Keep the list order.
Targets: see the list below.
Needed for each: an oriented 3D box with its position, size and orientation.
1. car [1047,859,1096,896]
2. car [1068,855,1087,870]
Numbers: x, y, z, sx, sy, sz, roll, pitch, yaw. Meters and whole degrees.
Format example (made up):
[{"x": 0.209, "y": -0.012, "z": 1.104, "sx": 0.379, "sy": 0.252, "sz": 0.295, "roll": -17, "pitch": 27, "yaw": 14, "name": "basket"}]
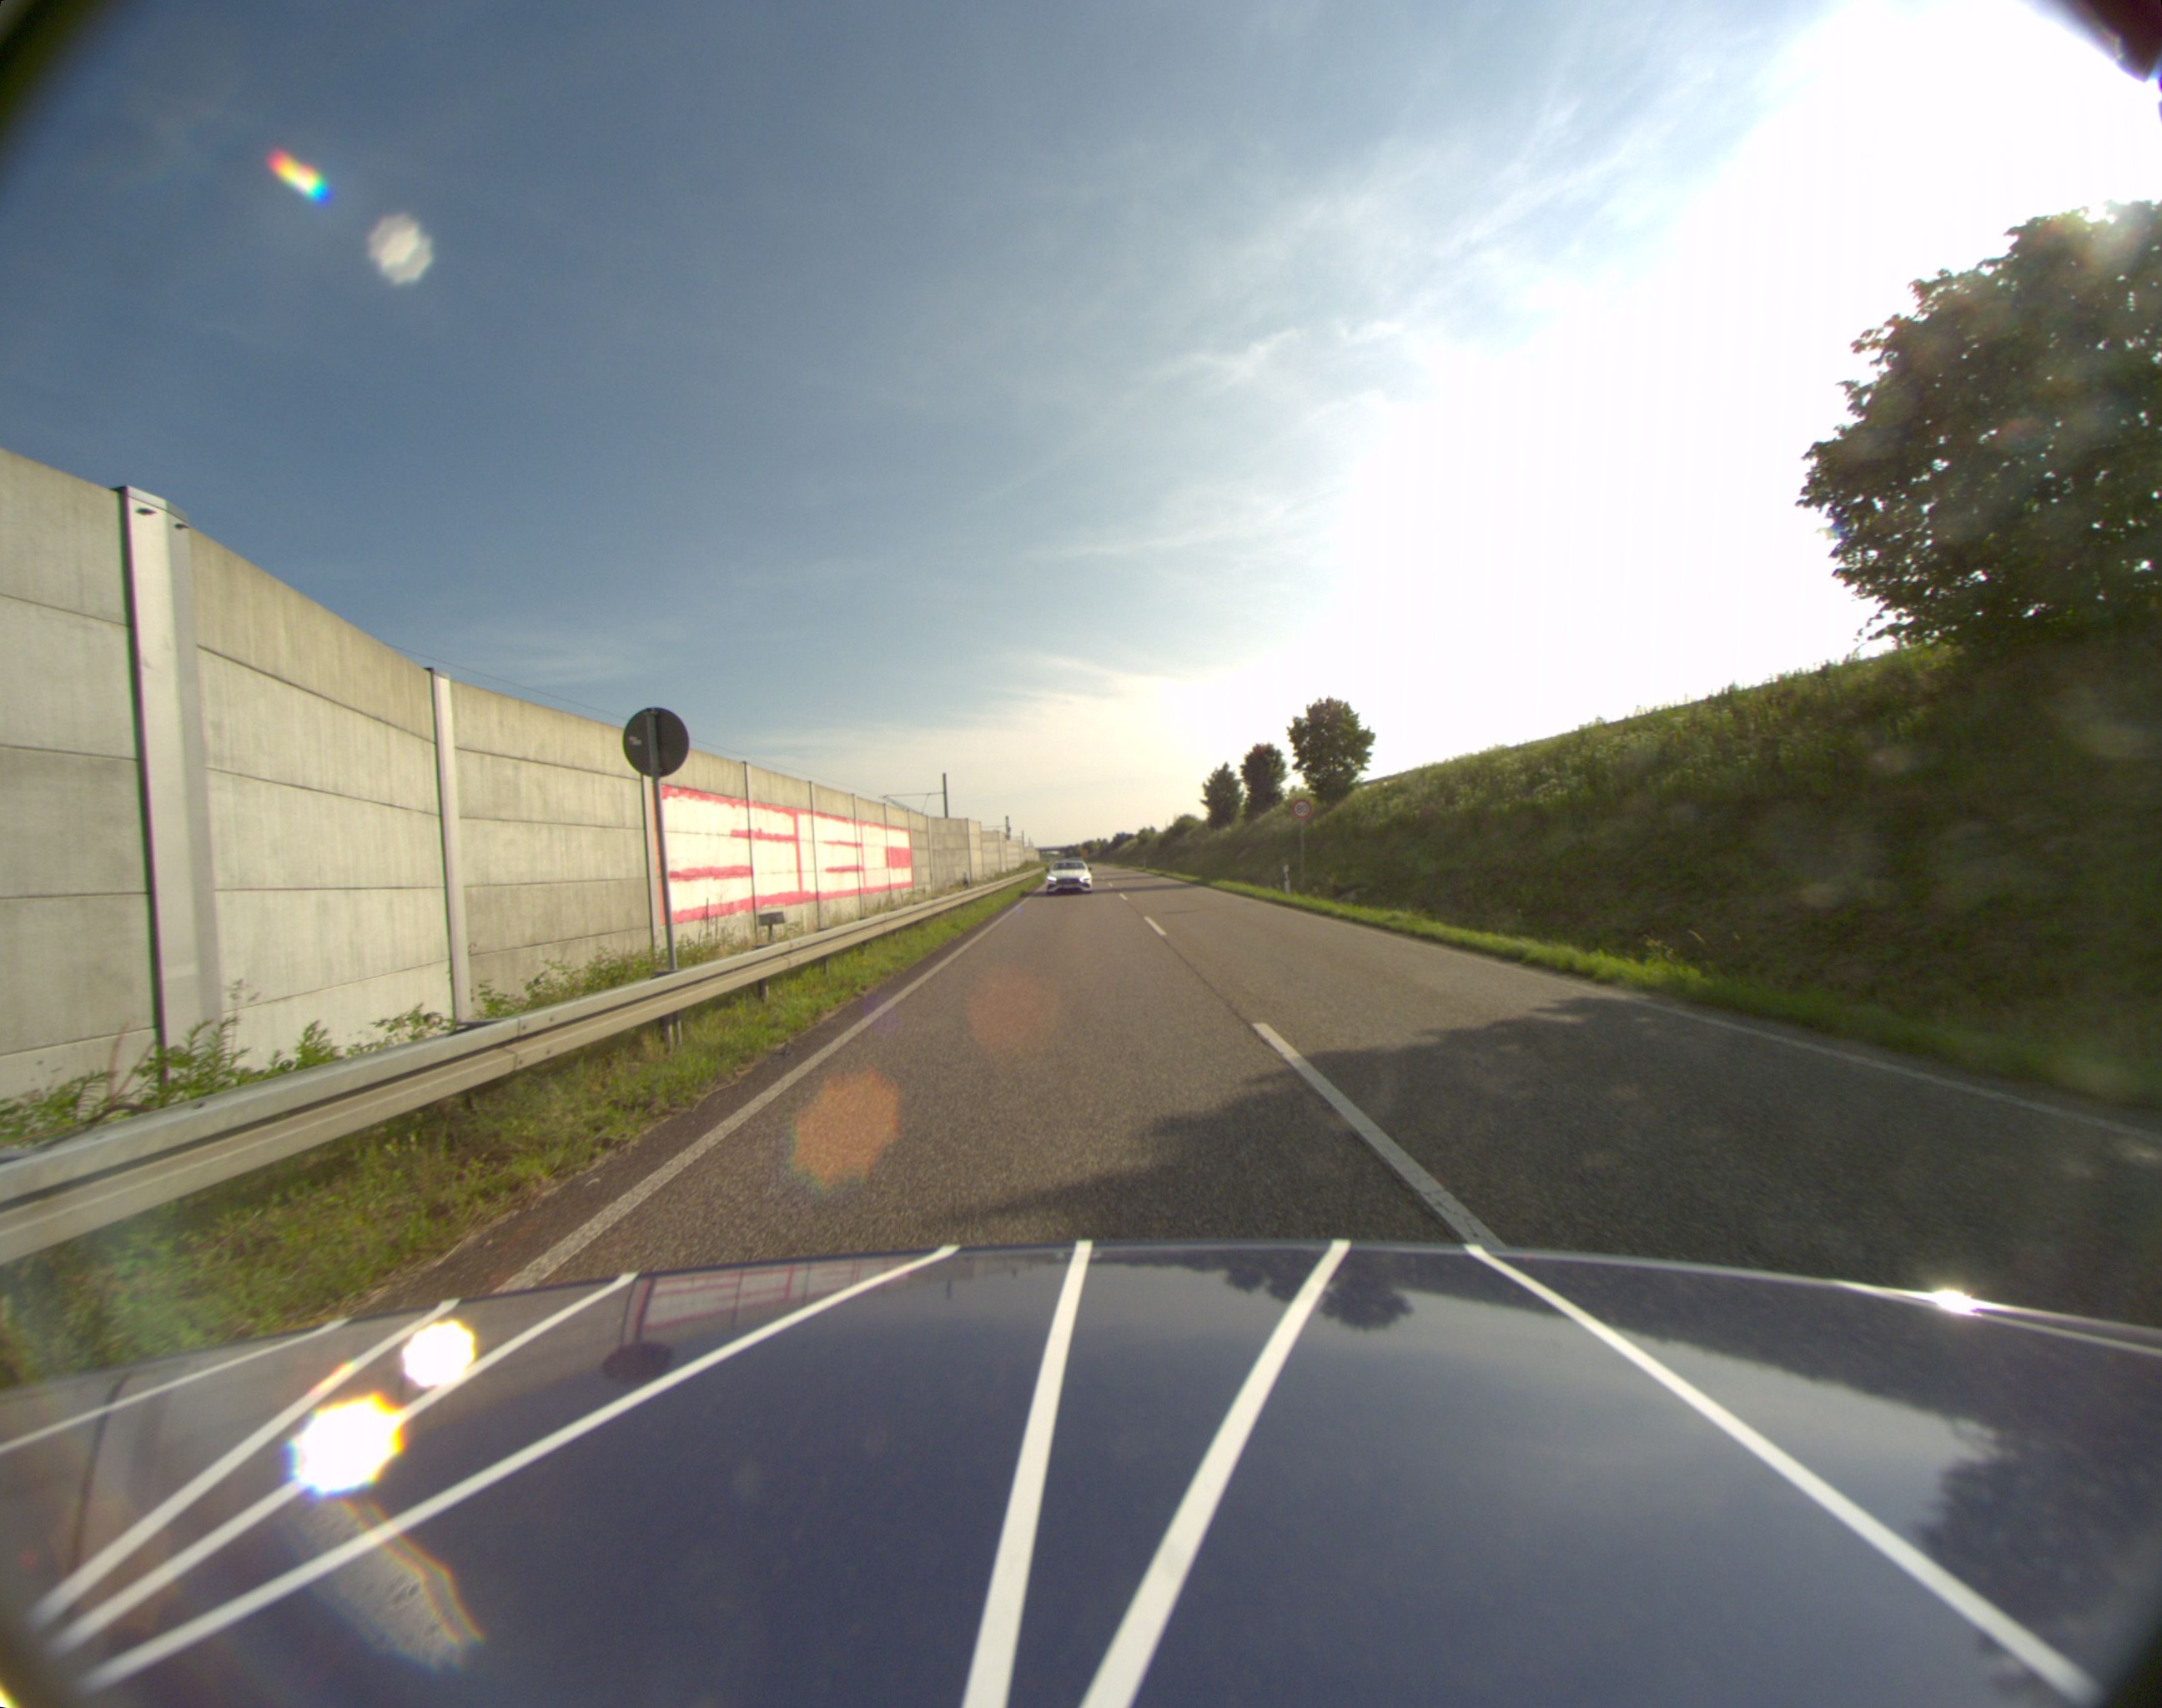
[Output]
[{"x": -0.457, "y": 0.963, "z": 33.066, "sx": 1.930, "sy": 1.398, "sz": 4.974, "roll": -2, "pitch": 0, "yaw": -2, "name": "car"}, {"x": -0.365, "y": 0.889, "z": 80.174, "sx": 1.930, "sy": 1.399, "sz": 4.973, "roll": -1, "pitch": 1, "yaw": 0, "name": "car"}]
